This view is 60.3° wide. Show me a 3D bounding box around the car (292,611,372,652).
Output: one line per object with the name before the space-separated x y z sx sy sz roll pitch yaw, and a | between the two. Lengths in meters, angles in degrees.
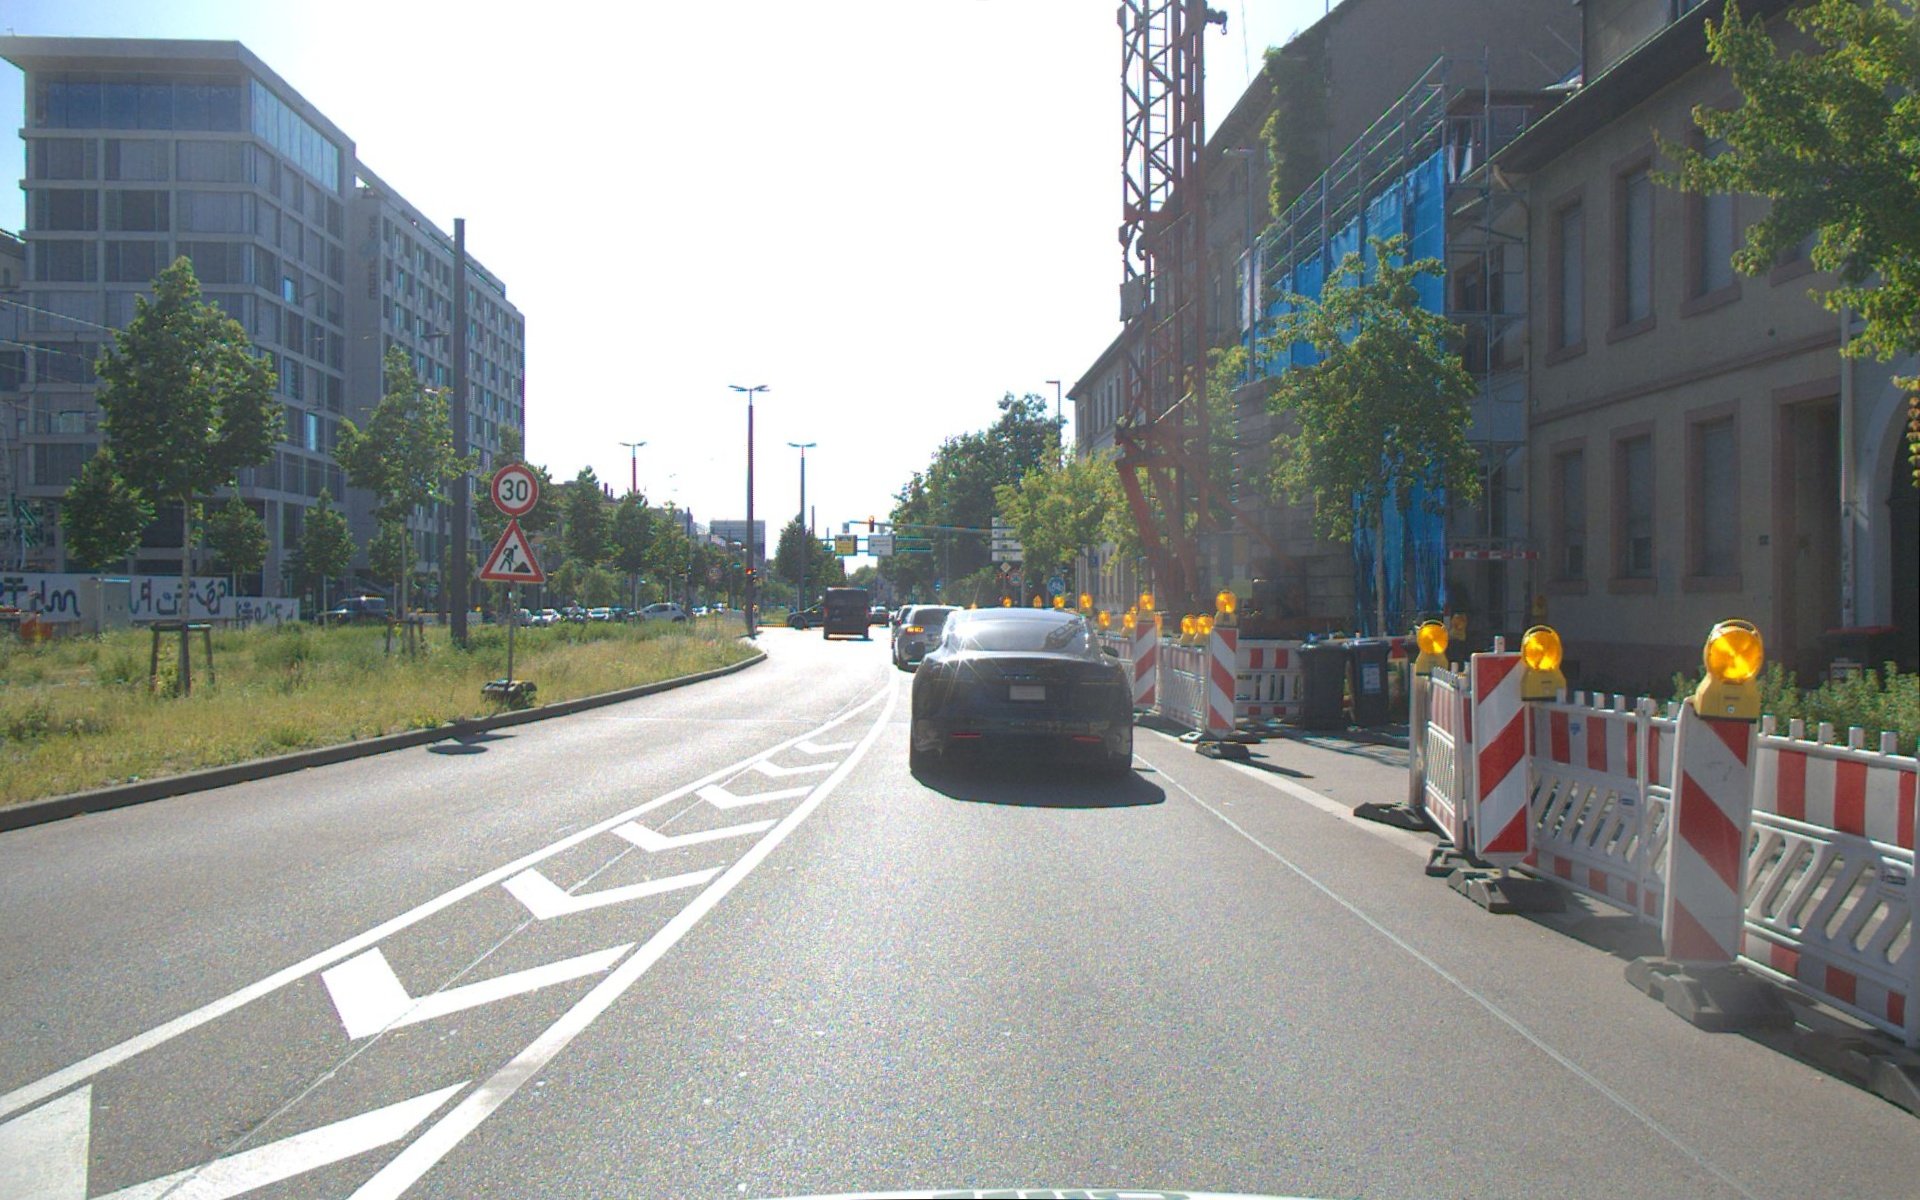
car | -31.774 1.561 83.831 1.868 1.952 4.332 -1 0 9

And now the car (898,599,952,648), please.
car | -1.180 0.754 54.863 1.714 1.554 4.003 0 0 -2

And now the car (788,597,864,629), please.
car | -8.087 0.785 100.187 4.421 1.824 1.999 -1 0 -2

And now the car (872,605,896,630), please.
car | -5.988 1.390 130.576 1.757 1.906 3.846 1 -1 -4

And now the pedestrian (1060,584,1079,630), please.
pedestrian | 4.770 0.302 71.889 0.645 1.946 0.587 -4 0 -4

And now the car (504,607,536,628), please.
car | -37.399 1.478 140.767 1.754 1.680 3.998 -1 0 -2

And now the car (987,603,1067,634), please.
car | 4.038 1.101 98.926 4.416 1.824 2.001 -1 0 16

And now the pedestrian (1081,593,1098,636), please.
pedestrian | 5.650 0.624 71.996 0.552 1.852 0.587 -4 0 -4

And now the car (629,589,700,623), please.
car | -17.460 0.352 97.566 3.911 1.952 1.905 -1 0 -18

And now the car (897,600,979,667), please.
car | -0.567 0.736 38.487 1.713 1.452 4.835 0 0 -3

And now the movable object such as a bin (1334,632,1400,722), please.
movable object such as a bin | 5.242 0.986 21.323 0.583 1.076 0.730 -4 0 -2

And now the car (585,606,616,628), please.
car | -28.823 1.330 132.808 1.754 1.680 3.998 -1 0 -2

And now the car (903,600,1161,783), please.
car | 0.514 0.749 15.771 2.010 1.469 4.521 1 0 -3

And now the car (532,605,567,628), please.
car | -31.417 1.265 126.712 1.754 1.680 3.998 -1 0 -2

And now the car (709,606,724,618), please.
car | -35.052 1.674 238.329 1.772 1.680 3.998 -1 0 -2

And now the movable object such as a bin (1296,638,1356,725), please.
movable object such as a bin | 4.665 1.031 21.093 0.576 1.076 0.730 0 0 -2

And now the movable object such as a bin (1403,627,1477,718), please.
movable object such as a bin | 6.146 0.925 21.216 0.577 1.076 0.782 -5 1 -7

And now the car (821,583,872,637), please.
car | -5.087 0.419 74.082 2.174 2.307 4.480 1 0 -4

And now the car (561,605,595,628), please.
car | -28.737 1.243 124.592 1.754 1.680 3.998 -1 0 -2
